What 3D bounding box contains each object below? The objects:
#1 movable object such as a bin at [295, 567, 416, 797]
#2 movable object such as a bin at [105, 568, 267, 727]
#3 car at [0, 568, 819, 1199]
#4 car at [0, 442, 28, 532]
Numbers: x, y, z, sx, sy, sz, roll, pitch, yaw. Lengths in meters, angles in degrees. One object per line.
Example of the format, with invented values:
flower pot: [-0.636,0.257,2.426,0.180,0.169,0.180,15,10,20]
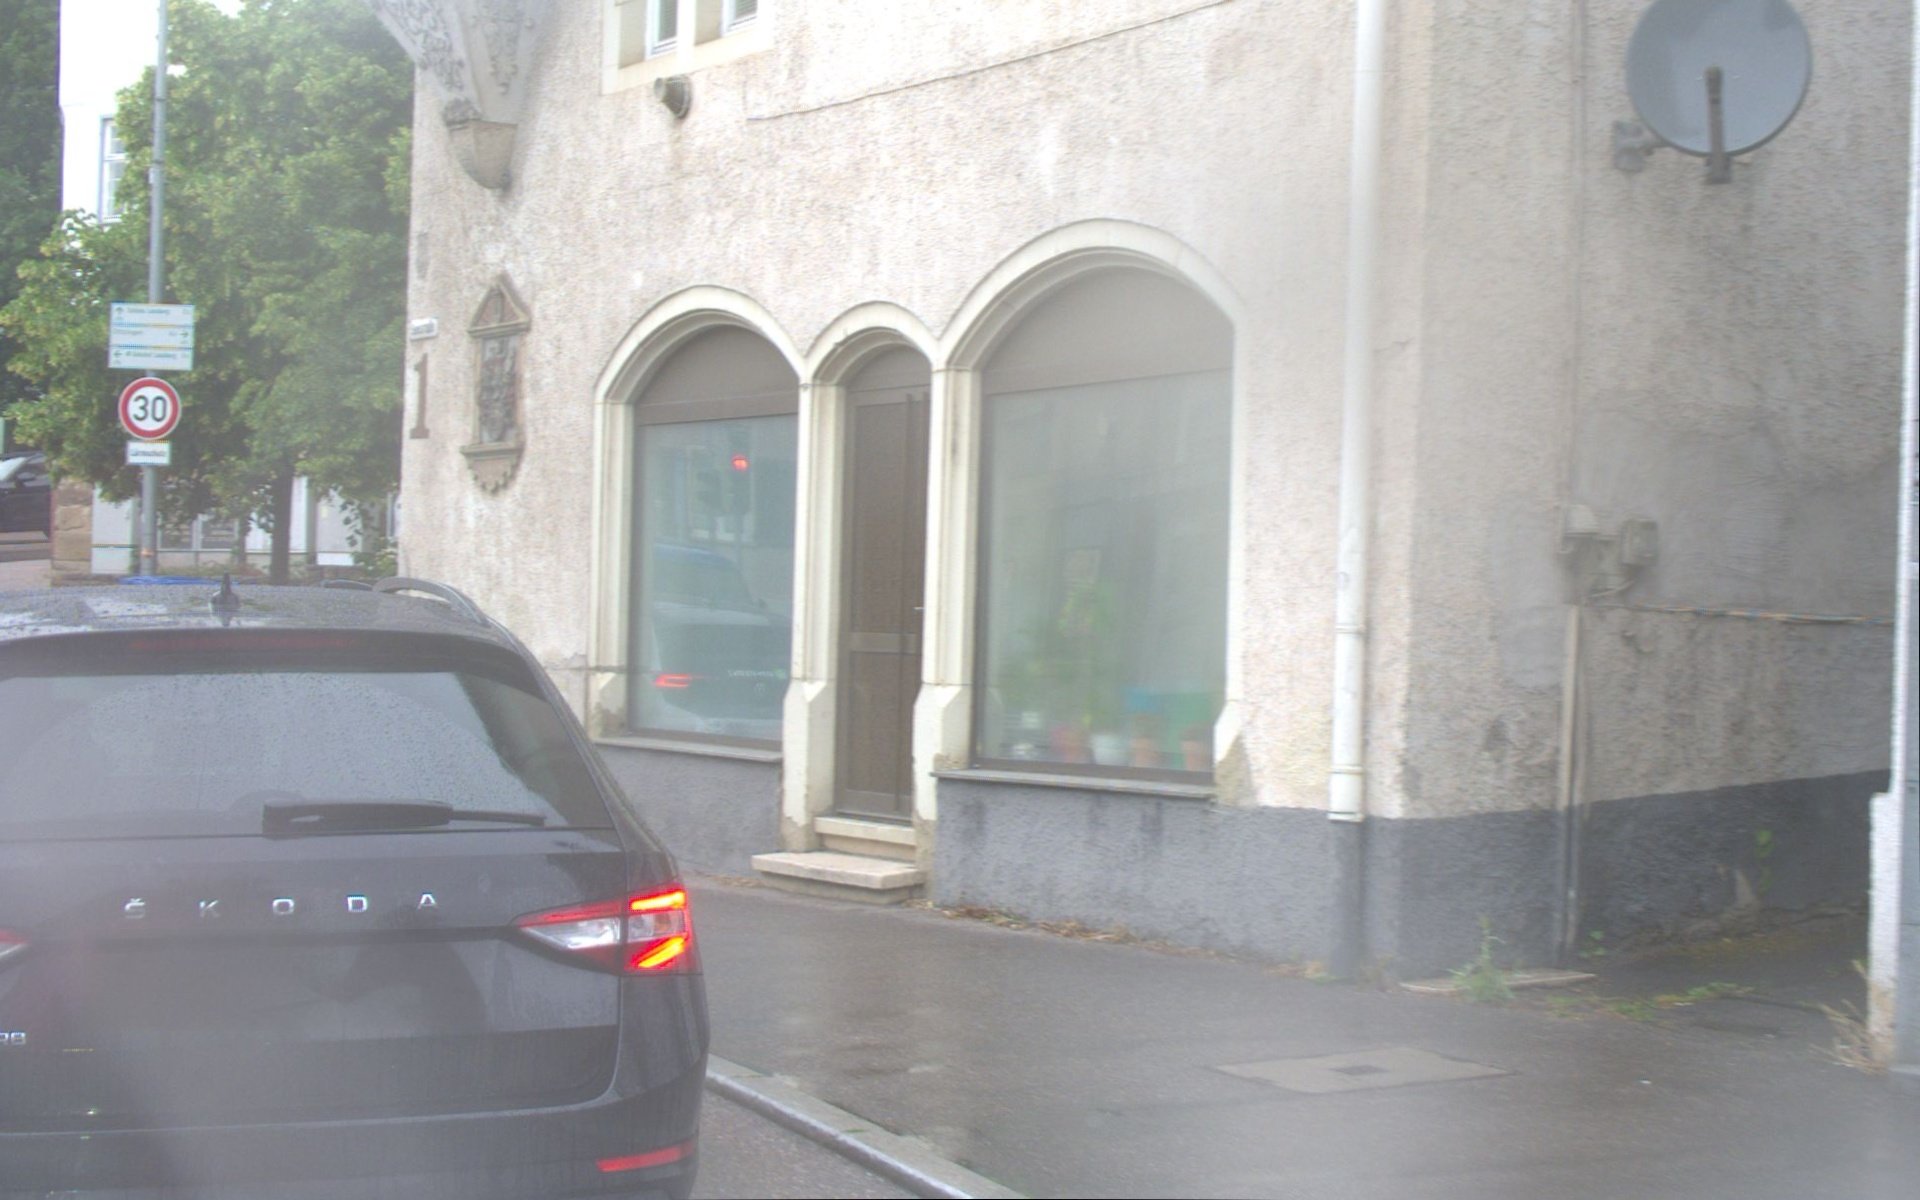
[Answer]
movable object such as a bin: [-3.934,0.523,22.367,0.643,1.437,0.412,4,3,39]
movable object such as a bin: [-6.656,0.400,29.536,1.154,1.308,1.187,2,0,-21]
car: [-1.827,0.683,7.663,1.886,1.443,4.358,1,0,-18]
car: [-18.884,-2.030,59.942,4.735,1.582,1.829,0,3,-42]
